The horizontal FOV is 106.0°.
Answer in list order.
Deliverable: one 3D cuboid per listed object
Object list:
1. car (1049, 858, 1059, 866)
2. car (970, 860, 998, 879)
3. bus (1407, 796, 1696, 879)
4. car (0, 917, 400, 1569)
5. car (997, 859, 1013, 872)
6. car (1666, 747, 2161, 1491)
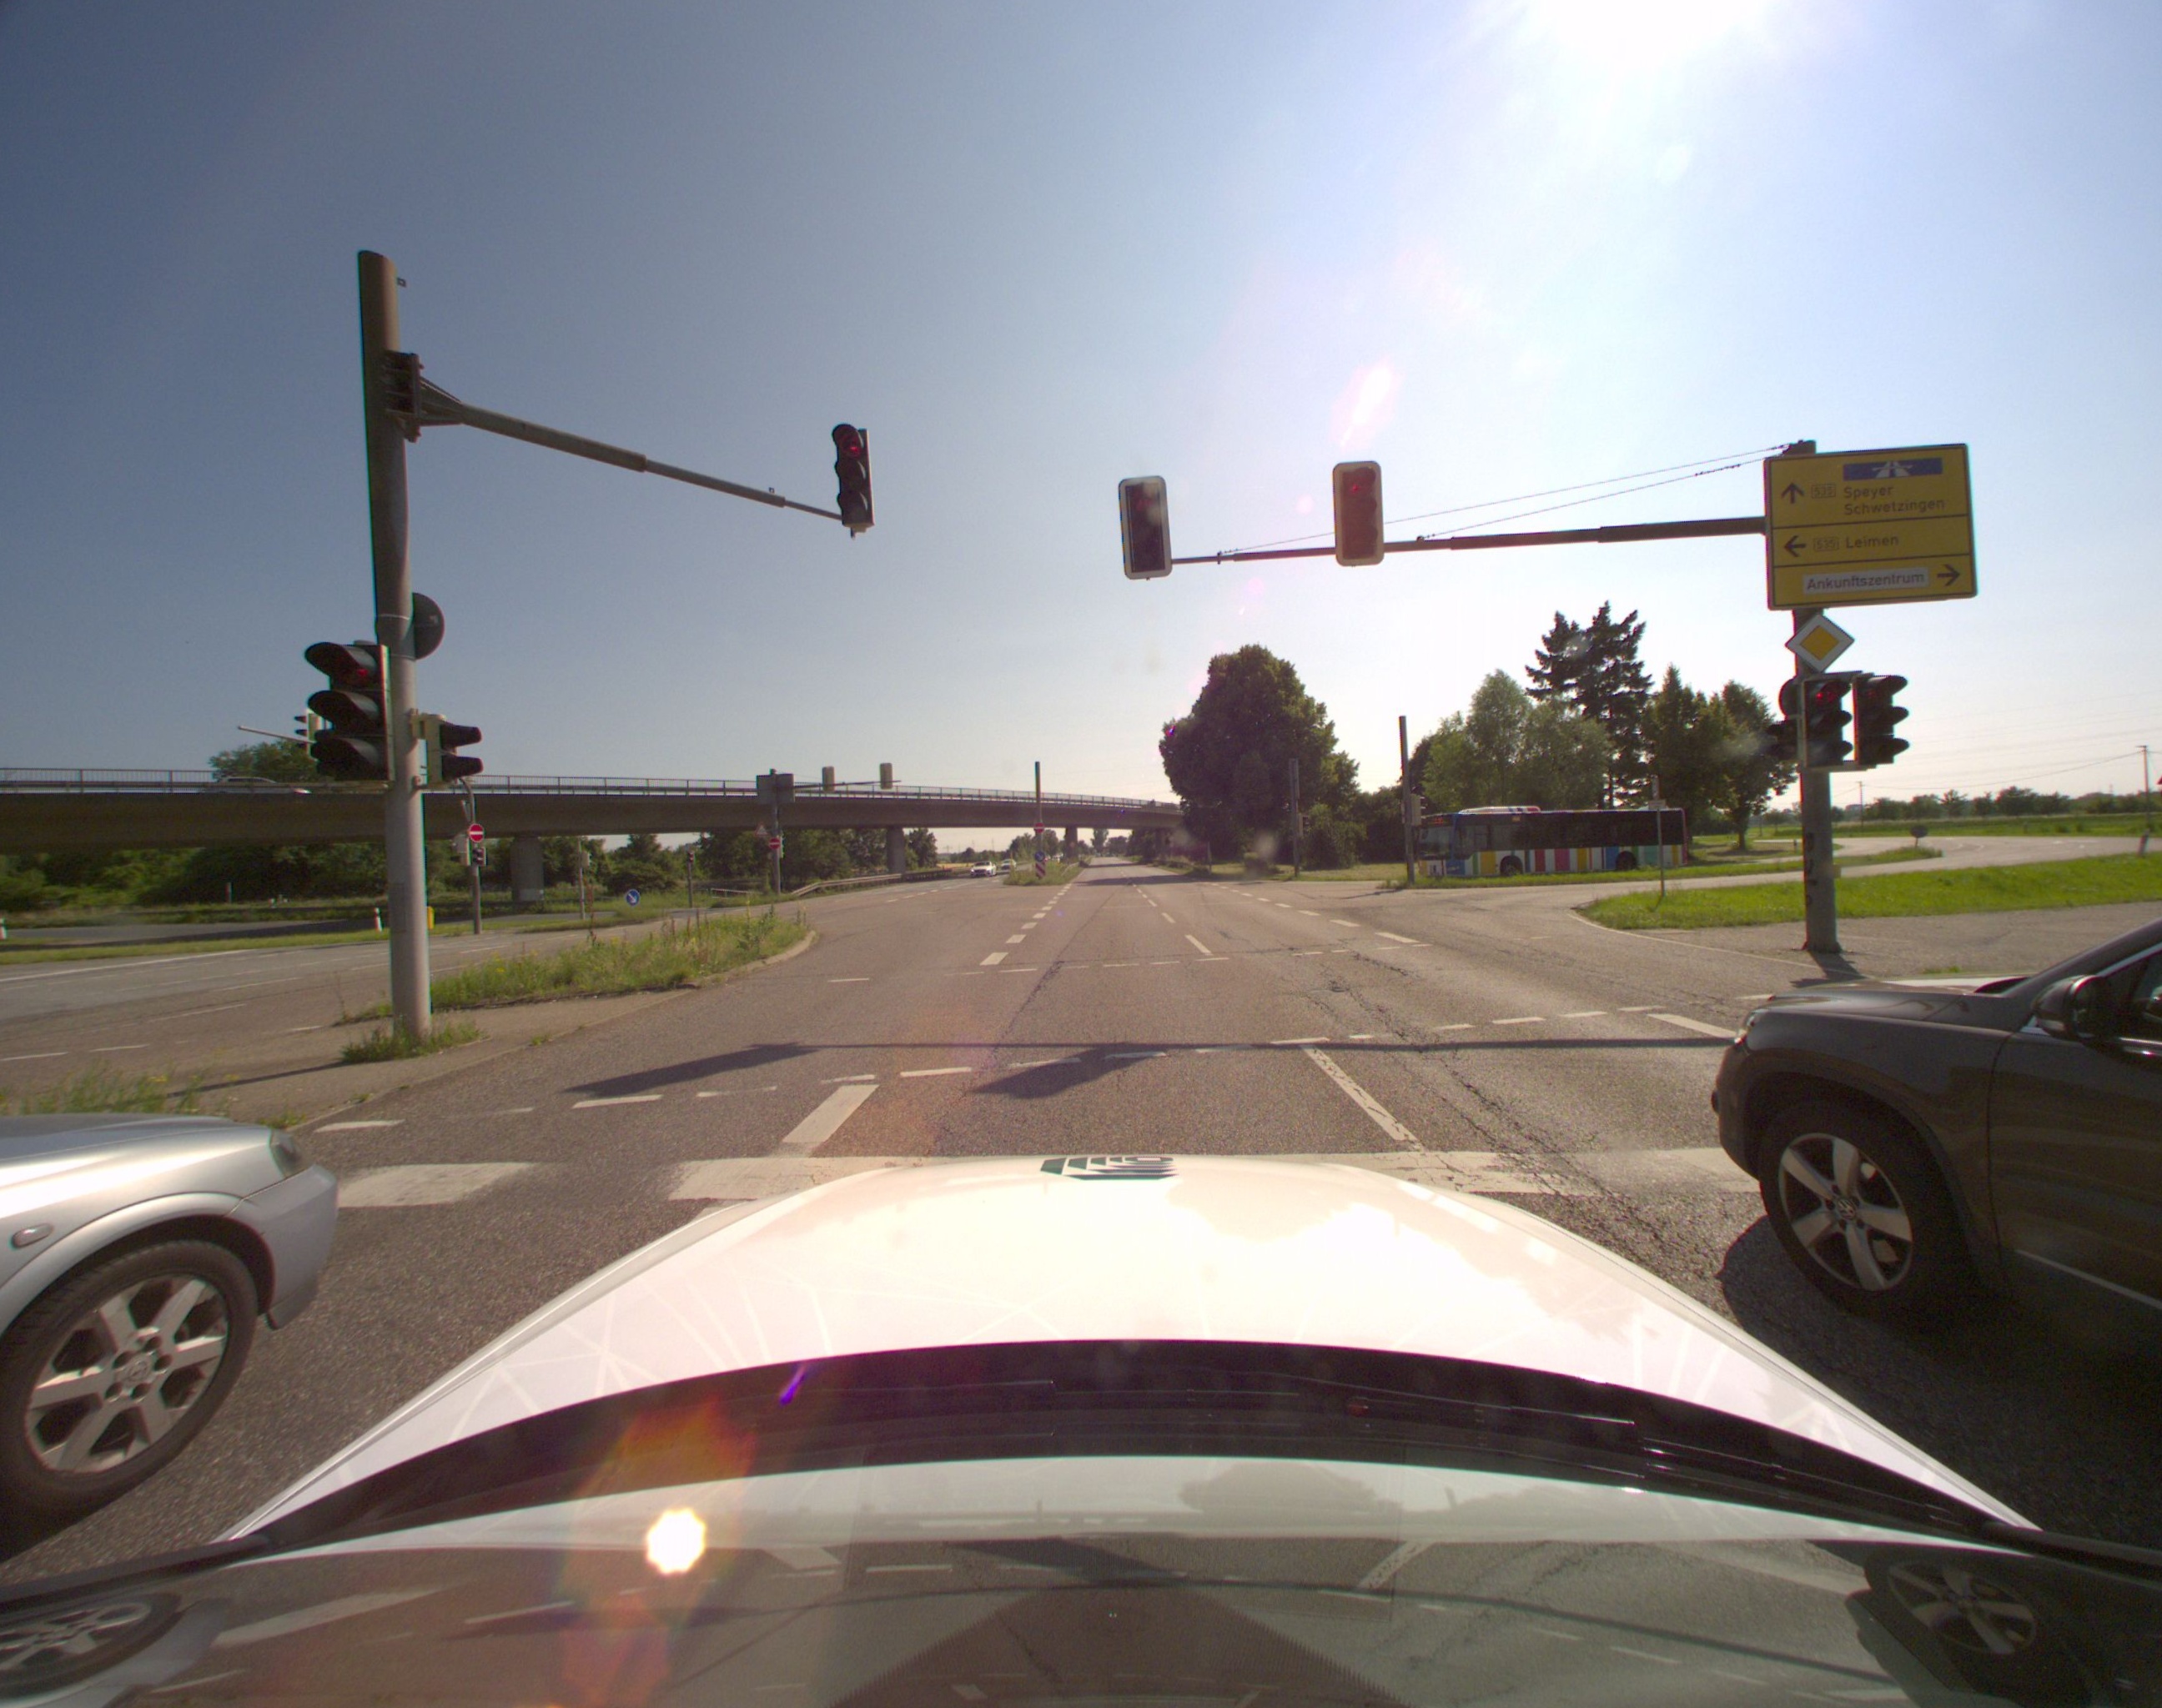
[{"bbox_3d":[-5.506,1.586,166.076,1.551,1.540,4.001,-3,0,2],"label":"car"},{"bbox_3d":[-8.581,1.353,72.396,1.850,1.448,4.241,-5,0,1],"label":"car"},{"bbox_3d":[20.218,-0.713,34.987,11.954,2.877,2.928,-3,0,-14],"label":"bus"},{"bbox_3d":[-3.238,0.919,0.716,1.667,1.335,4.100,-3,0,2],"label":"car"},{"bbox_3d":[-10.778,1.639,116.247,1.784,1.628,4.000,-3,0,1],"label":"car"},{"bbox_3d":[3.263,0.580,1.287,1.749,1.655,4.147,-1,0,1],"label":"car"}]
